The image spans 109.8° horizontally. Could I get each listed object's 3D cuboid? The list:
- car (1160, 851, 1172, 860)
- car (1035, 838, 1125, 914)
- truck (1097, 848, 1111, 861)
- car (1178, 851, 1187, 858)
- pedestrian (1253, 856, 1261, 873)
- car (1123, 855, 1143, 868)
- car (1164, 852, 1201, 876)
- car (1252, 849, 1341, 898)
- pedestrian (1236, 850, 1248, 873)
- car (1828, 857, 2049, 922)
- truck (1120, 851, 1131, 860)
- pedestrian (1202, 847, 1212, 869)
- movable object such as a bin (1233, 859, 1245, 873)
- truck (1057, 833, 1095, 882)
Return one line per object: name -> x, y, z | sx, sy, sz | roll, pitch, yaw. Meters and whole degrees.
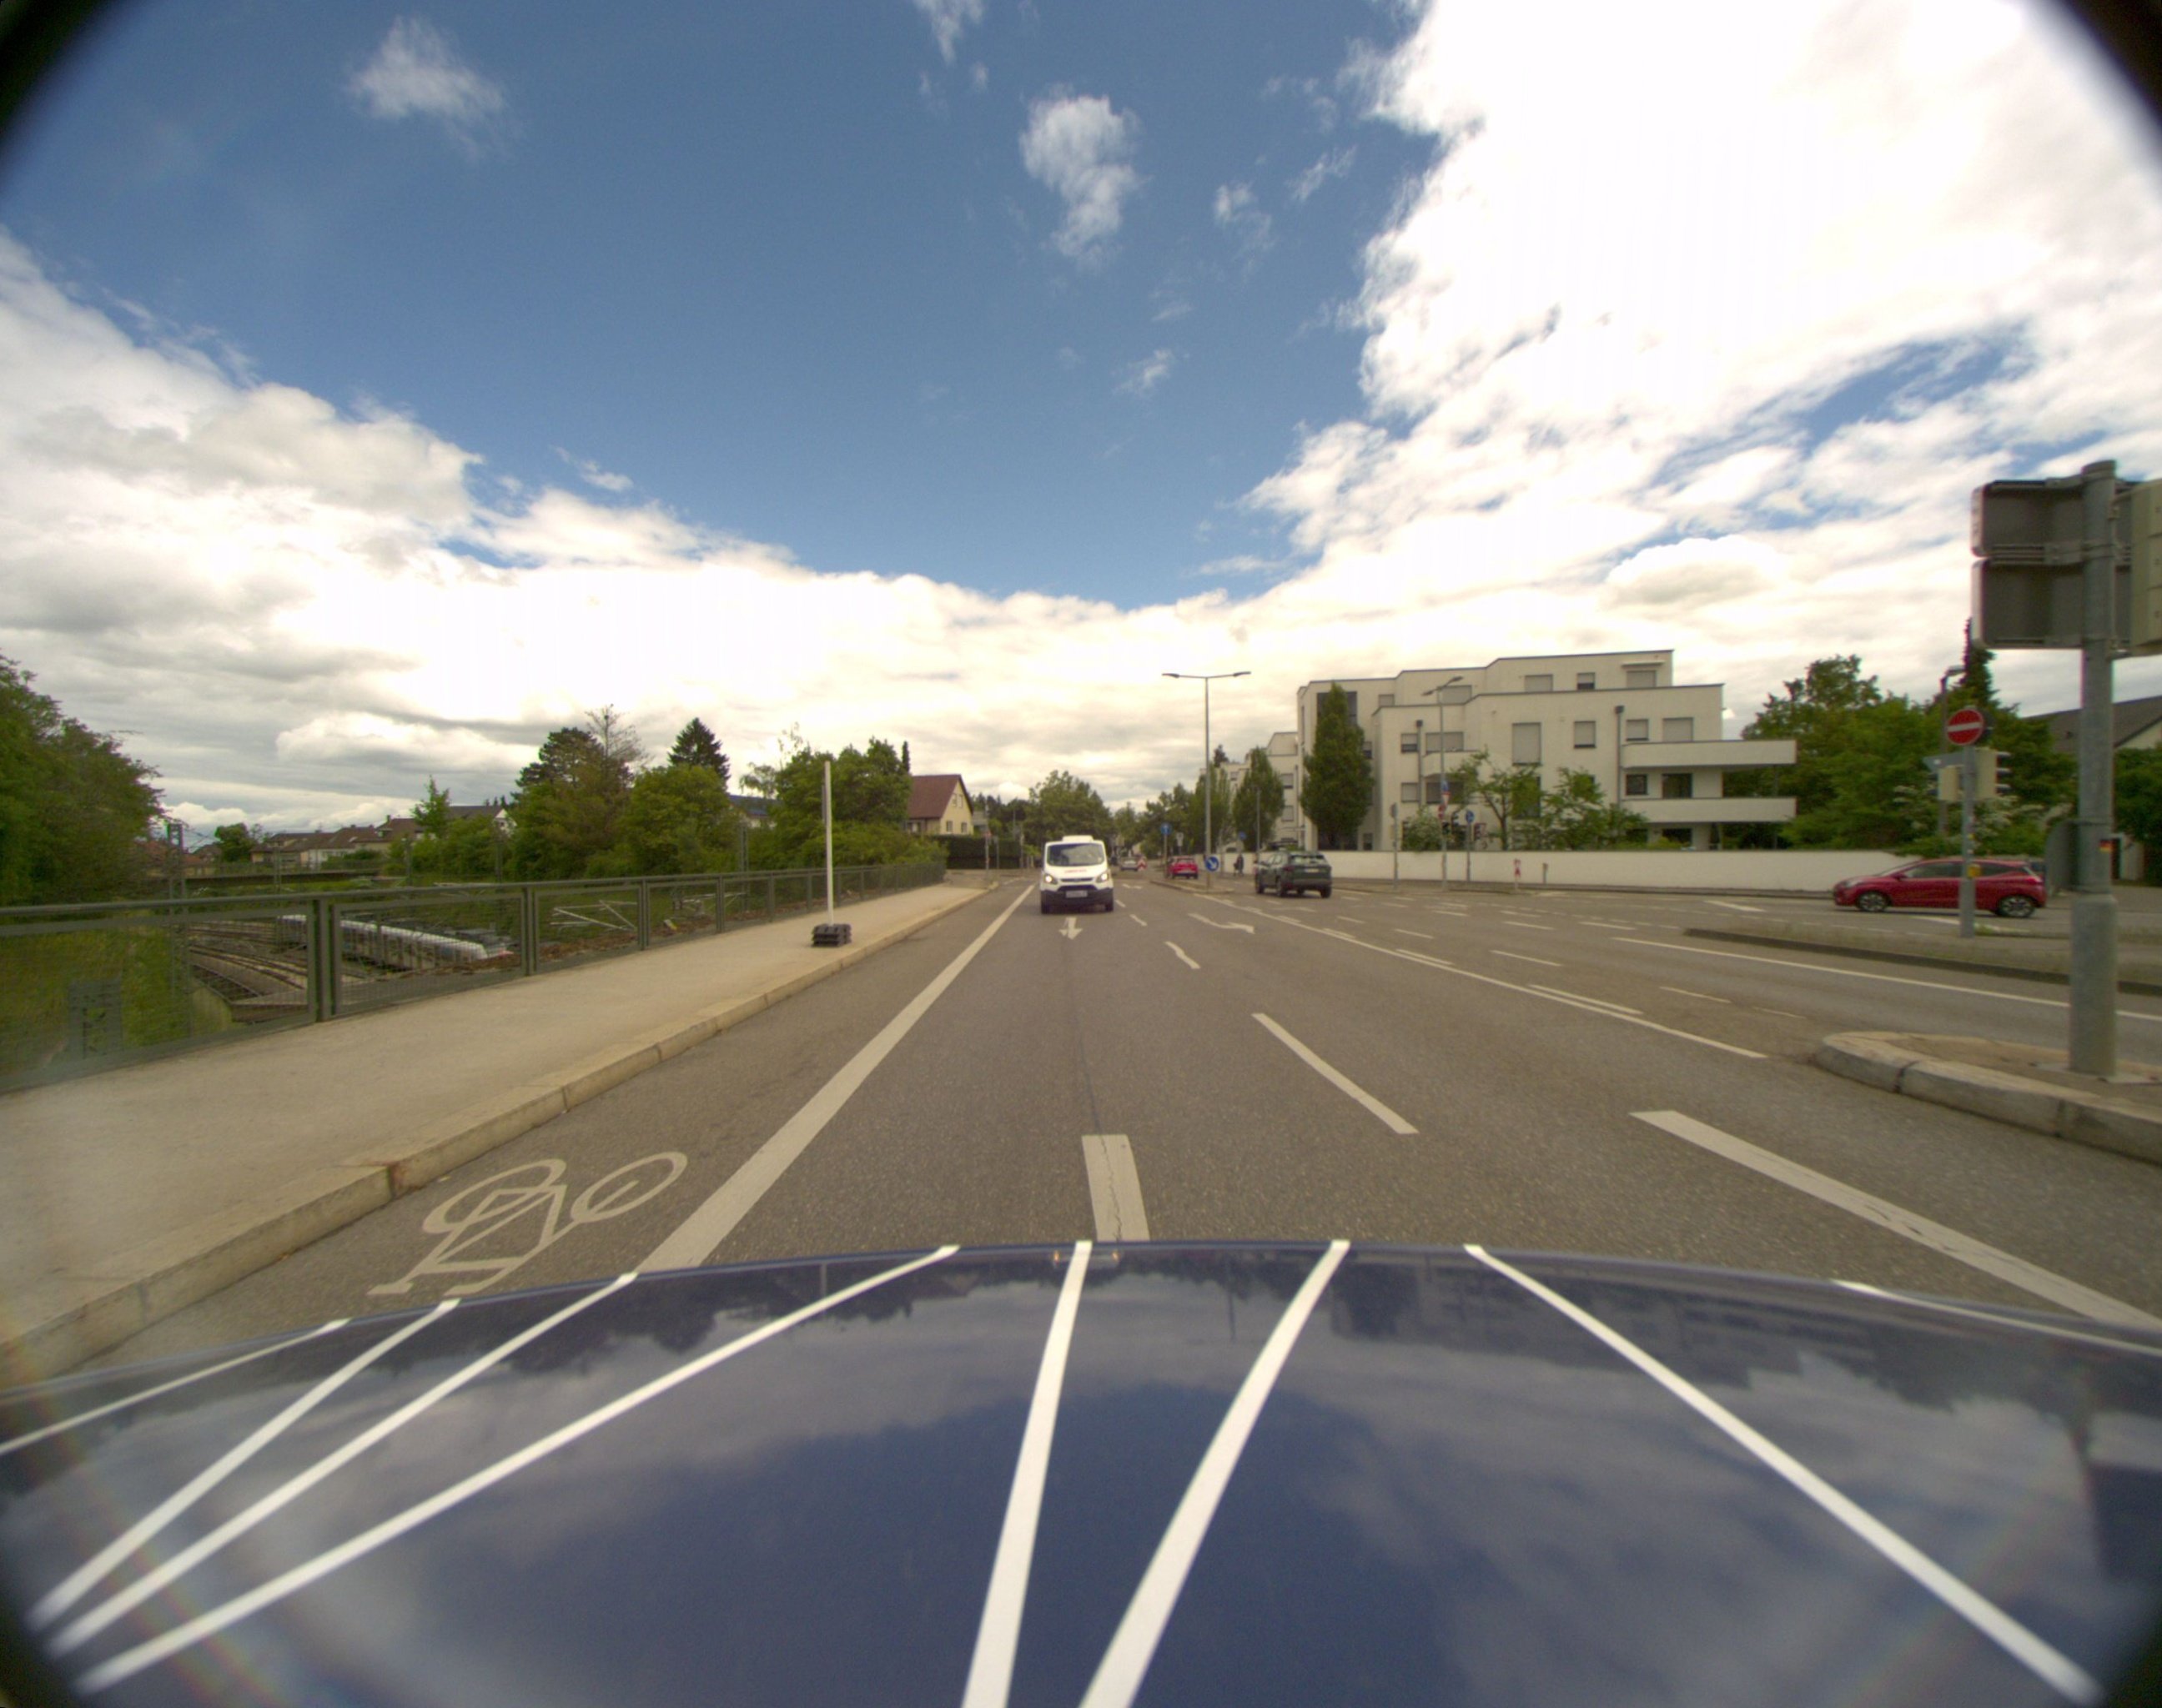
car -> 16.690, 0.259, 149.604 | 1.915, 1.643, 4.004 | 0, 0, 12
car -> 0.130, 0.594, 23.299 | 2.074, 1.956, 5.560 | -3, 0, 6
truck -> 3.380, 0.049, 111.826 | 1.614, 1.780, 4.003 | 1, 0, 9
car -> 23.587, 0.032, 176.049 | 1.888, 1.606, 4.004 | 0, 0, 12
pedestrian -> 11.678, 0.691, 50.532 | 0.326, 1.056, 0.444 | -4, 1, -2
car -> 5.592, 0.792, 81.785 | 1.648, 1.401, 3.817 | 0, 0, -4
car -> 6.622, 0.642, 49.868 | 1.725, 1.439, 4.065 | 1, 0, -3
car -> 7.715, 0.653, 27.671 | 1.828, 1.617, 4.277 | 1, 0, -3
pedestrian -> 10.983, 0.525, 51.862 | 0.533, 1.534, 0.731 | -5, 1, -3
car -> 22.611, 0.866, 20.284 | 3.692, 1.438, 1.779 | 2, 2, 42
truck -> 8.028, 0.260, 137.149 | 1.617, 1.649, 4.003 | 1, 0, 9
pedestrian -> 11.674, 0.356, 70.502 | 0.650, 1.937, 0.871 | -3, 1, -1
movable object such as a bin -> 10.974, 0.829, 52.705 | 0.498, 0.954, 0.986 | -5, 1, -3
truck -> -0.302, 0.193, 43.472 | 2.036, 2.555, 6.057 | 1, 0, -1
